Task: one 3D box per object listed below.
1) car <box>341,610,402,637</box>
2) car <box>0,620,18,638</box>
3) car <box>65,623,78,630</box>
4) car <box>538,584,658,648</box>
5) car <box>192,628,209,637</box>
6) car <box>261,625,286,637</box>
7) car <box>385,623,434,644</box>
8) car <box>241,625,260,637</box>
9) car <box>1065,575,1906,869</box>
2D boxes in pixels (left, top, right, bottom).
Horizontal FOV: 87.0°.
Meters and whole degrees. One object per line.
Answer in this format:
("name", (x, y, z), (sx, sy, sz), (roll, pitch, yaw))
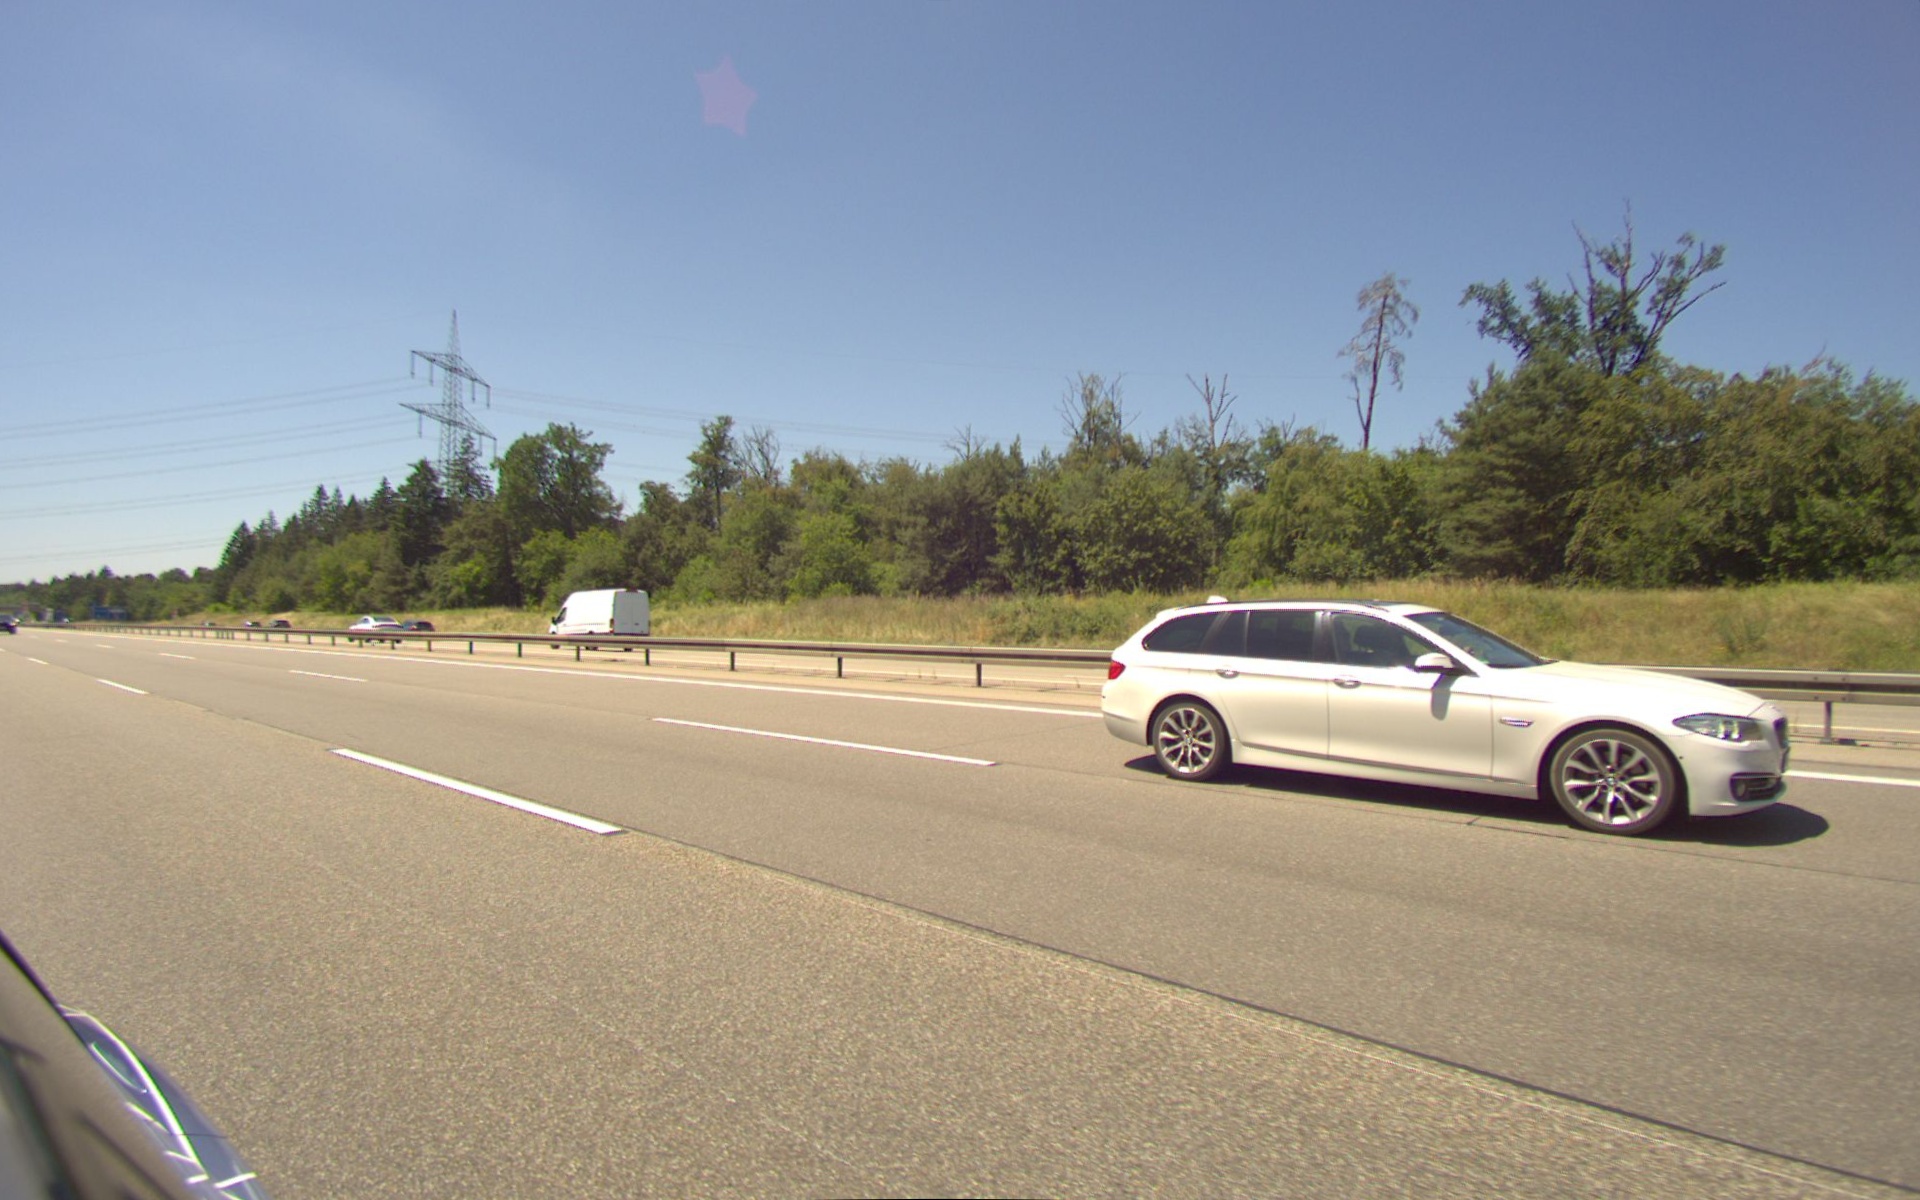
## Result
("car", (-32.980, 1.319, 56.663), (4.675, 1.402, 1.673), (-1, -3, 43))
("car", (-81.153, 2.467, 85.662), (1.872, 1.436, 4.264), (-1, 0, -45))
("car", (-167.394, 4.982, 190.577), (3.567, 1.366, 1.546), (-1, -1, 43))
("car", (-16.900, 0.798, 47.036), (6.873, 2.732, 2.317), (-1, -3, 43))
("car", (-124.957, 5.297, 166.533), (3.567, 1.488, 1.603), (-1, -1, 43))
("car", (-87.239, 3.951, 128.661), (4.437, 1.431, 1.769), (-1, 0, 44))
("car", (-40.060, 2.434, 73.597), (4.675, 1.402, 1.673), (-1, -3, 43))
("car", (-103.541, 4.504, 147.727), (4.001, 1.539, 1.541), (-1, 0, 44))
("car", (3.554, 0.643, 7.785), (5.405, 1.515, 1.942), (-1, 0, 43))
